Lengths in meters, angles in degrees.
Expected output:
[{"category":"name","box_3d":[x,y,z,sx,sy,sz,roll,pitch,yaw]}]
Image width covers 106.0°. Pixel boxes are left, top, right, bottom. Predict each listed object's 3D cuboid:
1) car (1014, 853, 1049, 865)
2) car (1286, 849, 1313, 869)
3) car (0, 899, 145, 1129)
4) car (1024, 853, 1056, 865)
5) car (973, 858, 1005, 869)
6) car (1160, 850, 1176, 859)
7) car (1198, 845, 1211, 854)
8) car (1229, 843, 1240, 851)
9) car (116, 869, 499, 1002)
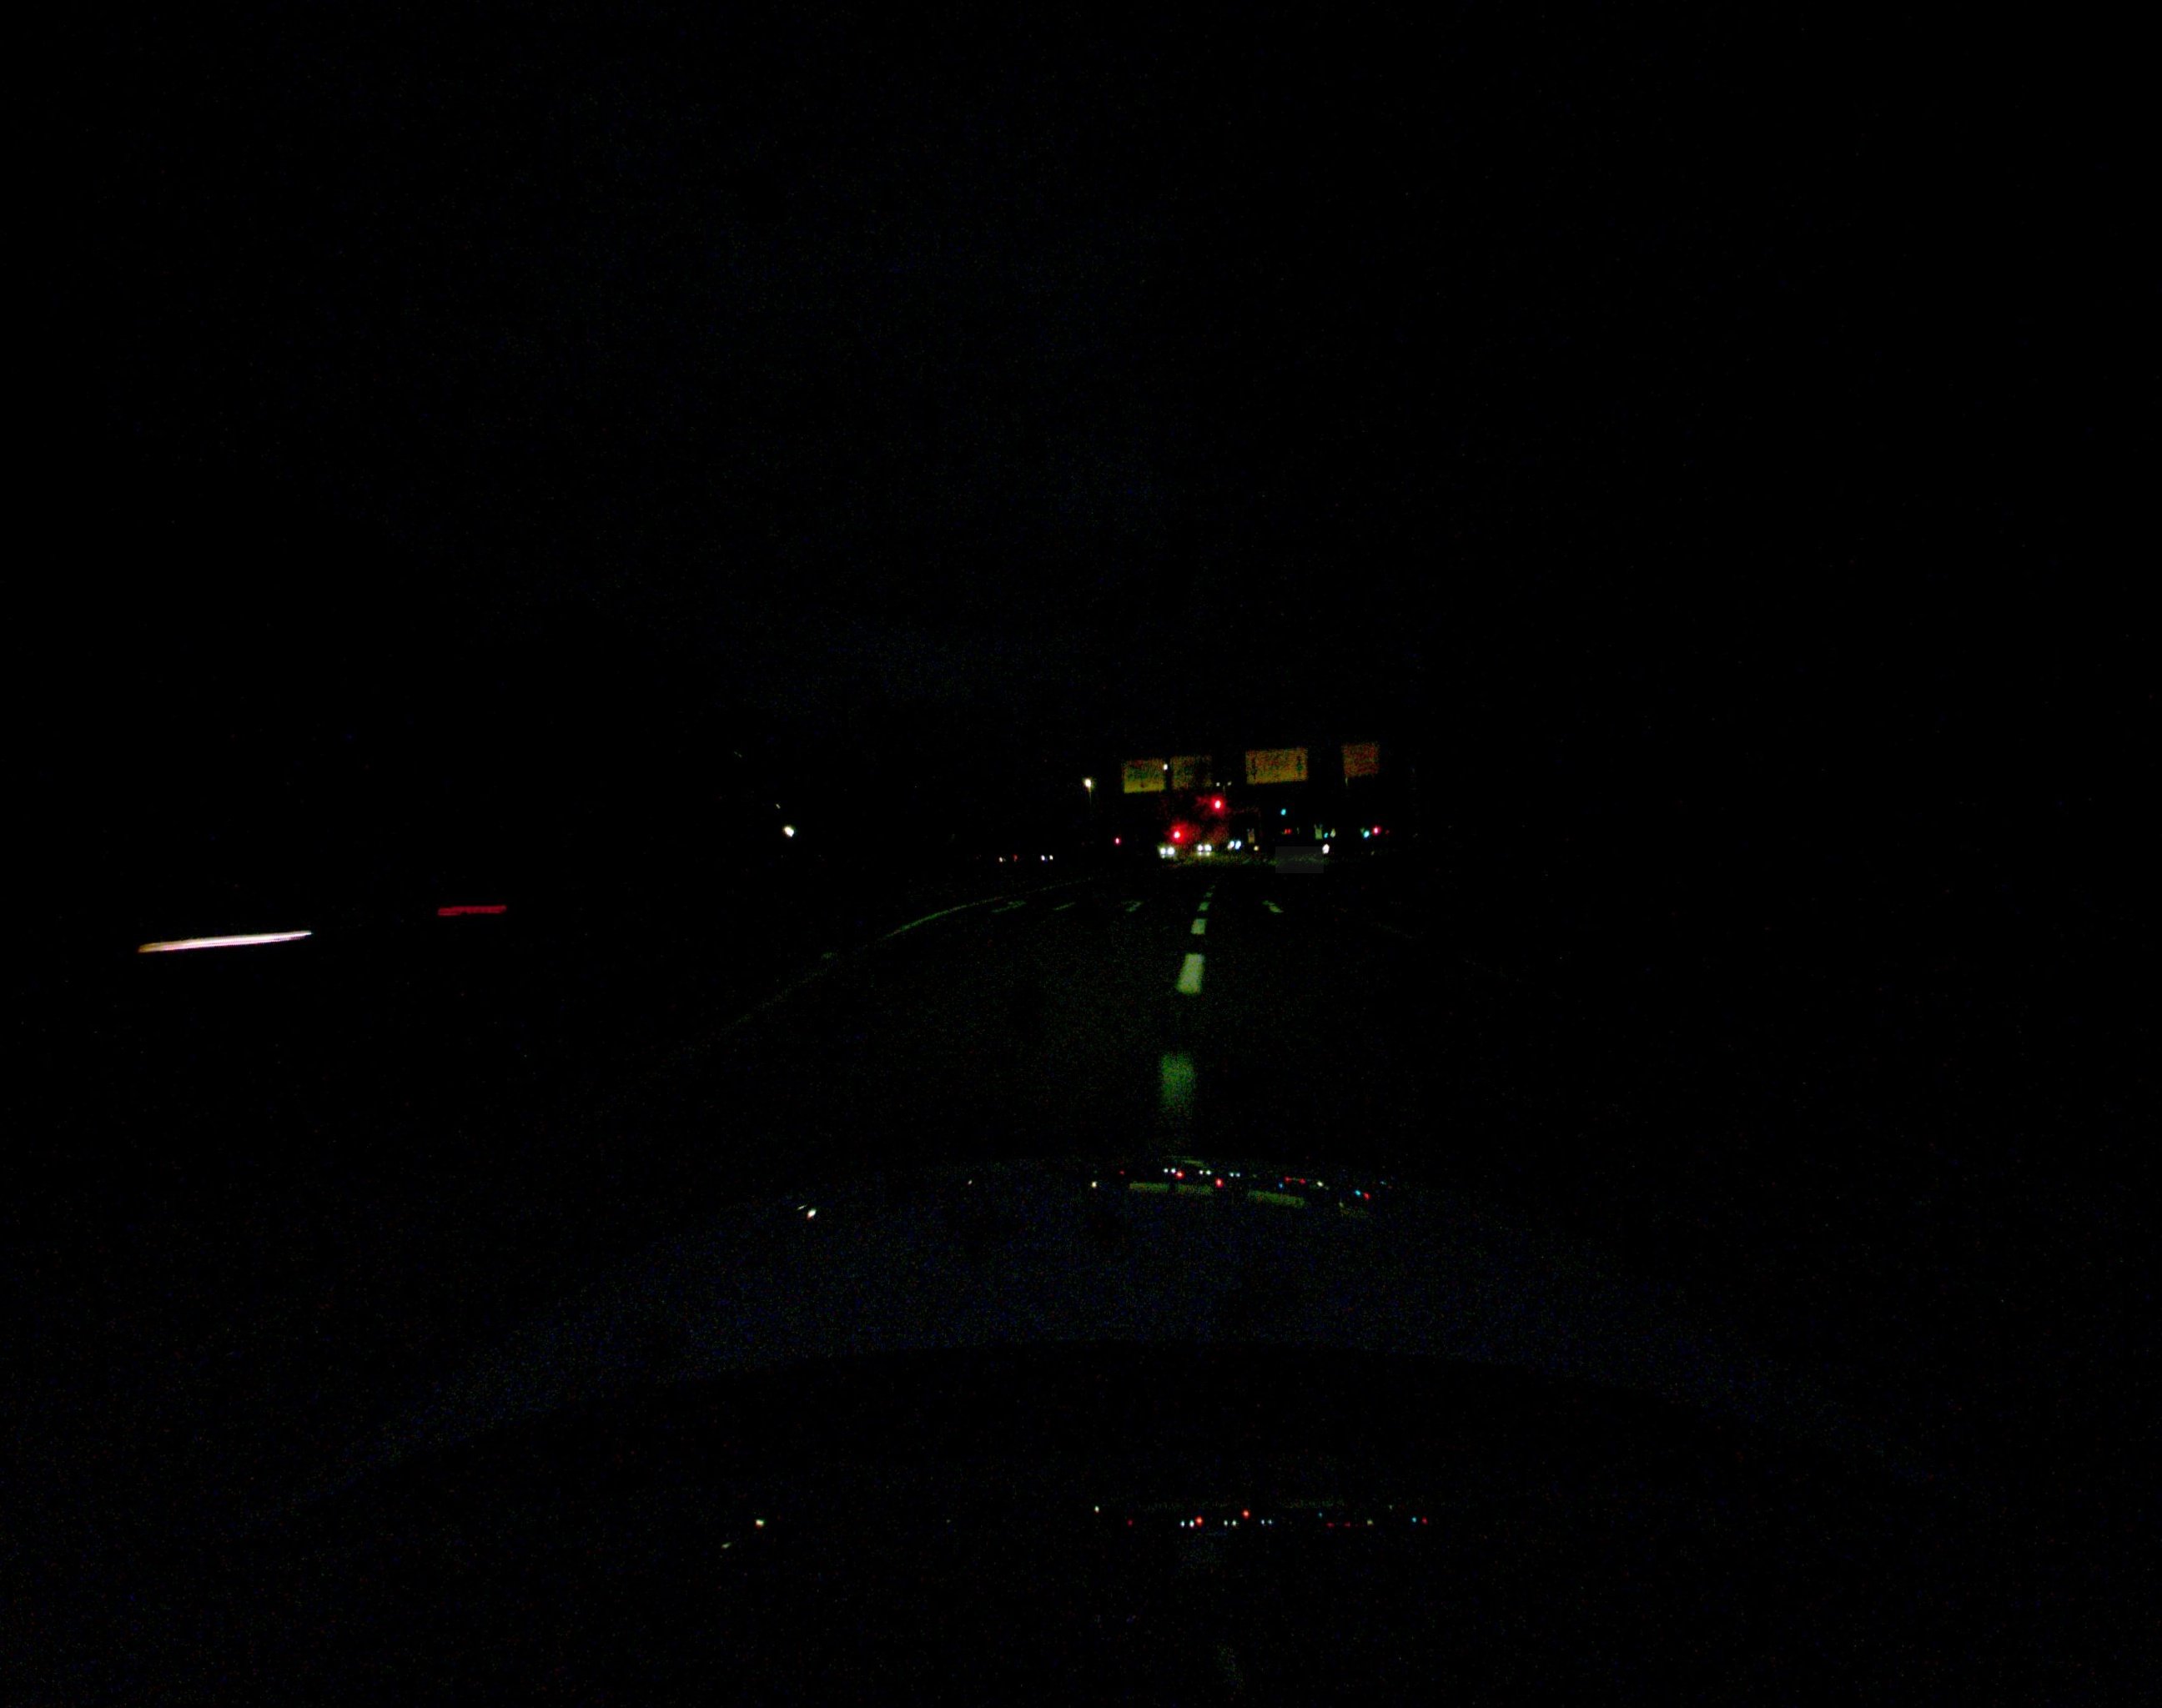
[{"category":"car","box_3d":[-6.732,0.656,111.054,4.282,1.537,1.736,-2,0,13]},{"category":"car","box_3d":[17.862,0.394,66.535,1.992,1.611,3.862,0,0,17]},{"category":"car","box_3d":[-8.390,1.159,4.492,1.686,1.533,4.003,-1,0,3]},{"category":"car","box_3d":[-5.764,0.673,114.819,4.013,1.537,1.735,-2,0,12]},{"category":"car","box_3d":[-12.771,1.327,113.351,3.963,1.473,1.734,-2,0,9]},{"category":"car","box_3d":[14.889,0.041,138.786,1.979,1.425,4.550,-2,0,14]},{"category":"car","box_3d":[23.970,-0.877,158.100,1.979,1.482,4.700,-2,0,14]},{"category":"car","box_3d":[34.551,-1.674,183.199,1.979,1.698,4.016,-2,1,14]},{"category":"car","box_3d":[-11.702,1.120,12.833,1.693,1.623,4.312,-1,0,4]}]
